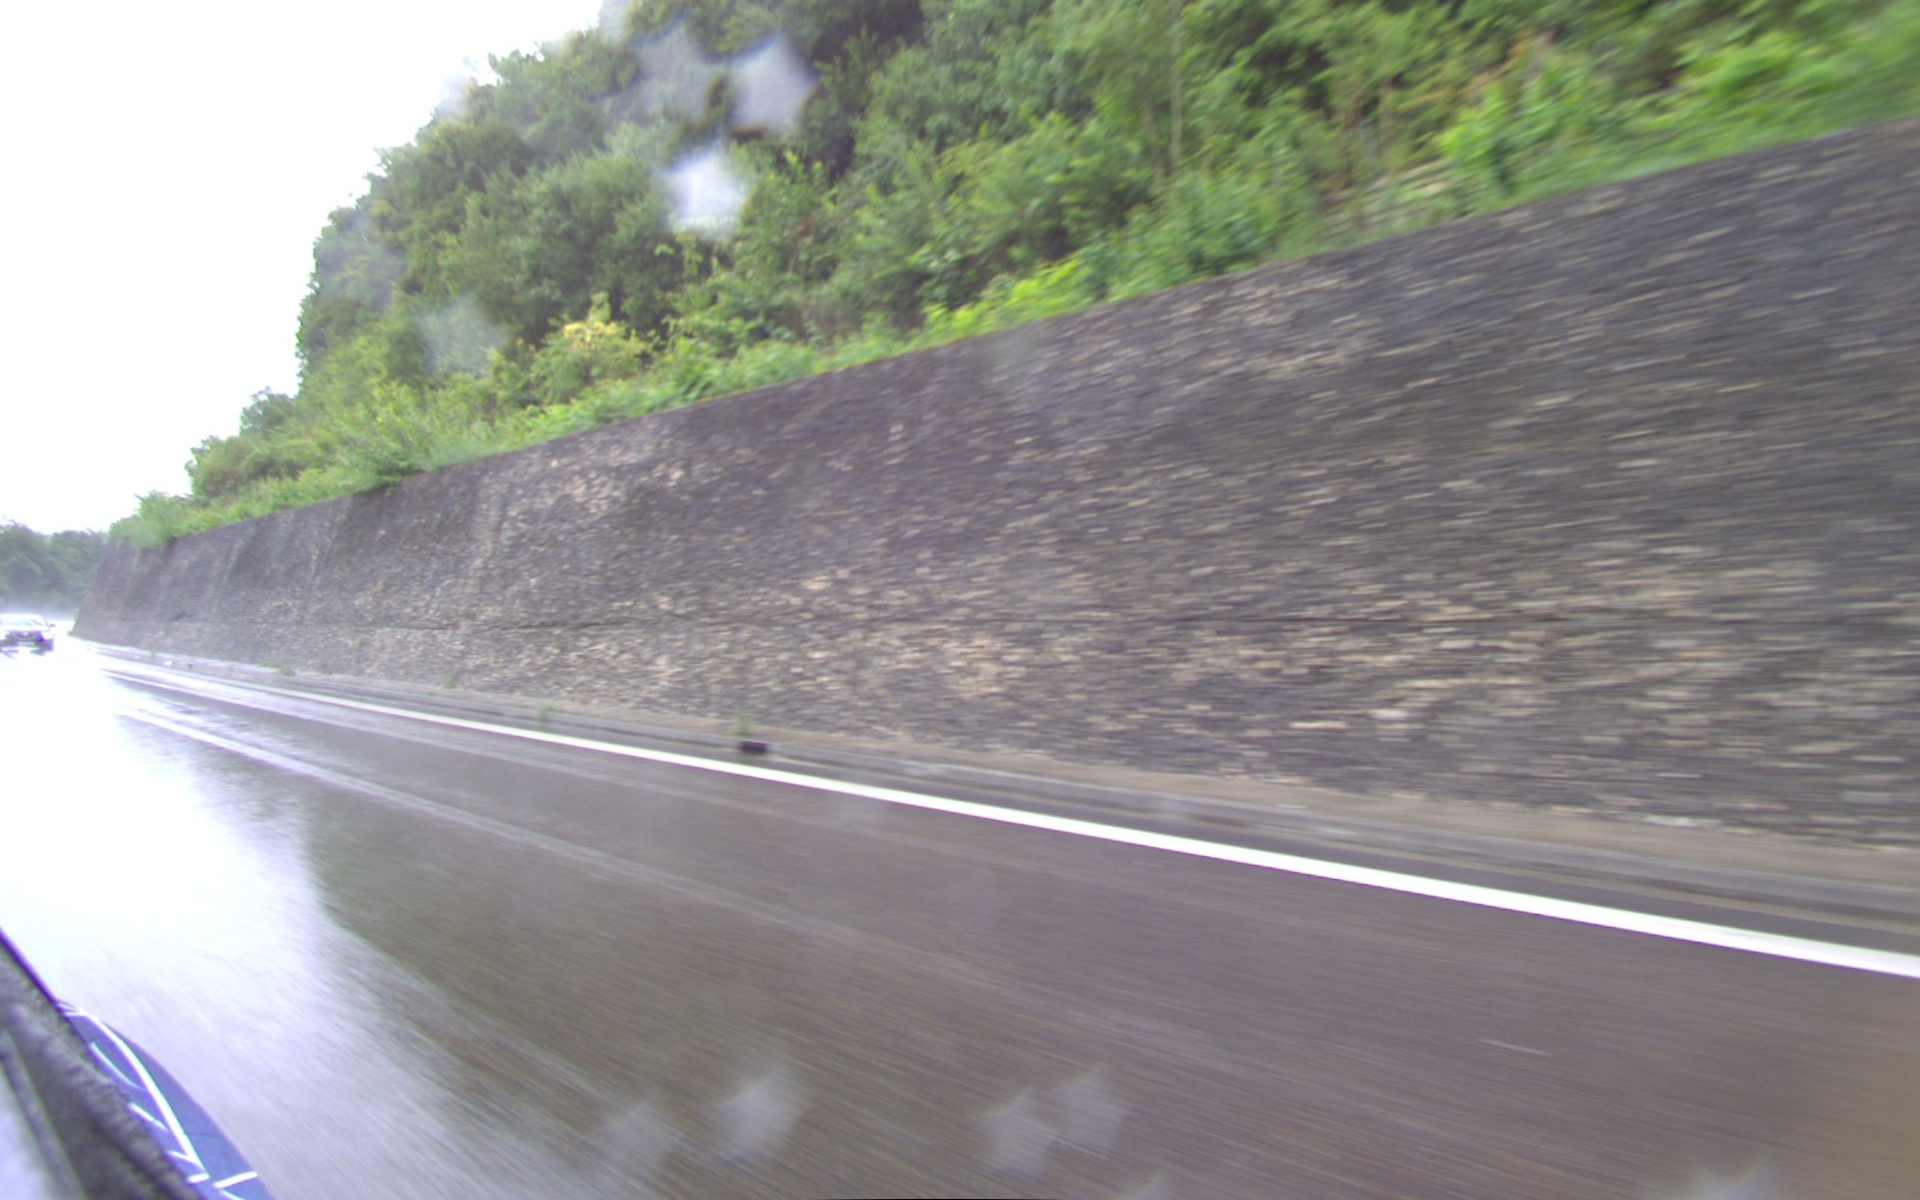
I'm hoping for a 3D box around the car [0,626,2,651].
[{"bbox_3d":[-56.205,2.254,57.910,1.800,1.393,4.006,-2,1,-41],"label":"car"}]

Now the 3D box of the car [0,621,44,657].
[{"bbox_3d":[-38.368,1.559,40.977,1.801,1.393,4.003,0,-1,-44],"label":"car"}]
